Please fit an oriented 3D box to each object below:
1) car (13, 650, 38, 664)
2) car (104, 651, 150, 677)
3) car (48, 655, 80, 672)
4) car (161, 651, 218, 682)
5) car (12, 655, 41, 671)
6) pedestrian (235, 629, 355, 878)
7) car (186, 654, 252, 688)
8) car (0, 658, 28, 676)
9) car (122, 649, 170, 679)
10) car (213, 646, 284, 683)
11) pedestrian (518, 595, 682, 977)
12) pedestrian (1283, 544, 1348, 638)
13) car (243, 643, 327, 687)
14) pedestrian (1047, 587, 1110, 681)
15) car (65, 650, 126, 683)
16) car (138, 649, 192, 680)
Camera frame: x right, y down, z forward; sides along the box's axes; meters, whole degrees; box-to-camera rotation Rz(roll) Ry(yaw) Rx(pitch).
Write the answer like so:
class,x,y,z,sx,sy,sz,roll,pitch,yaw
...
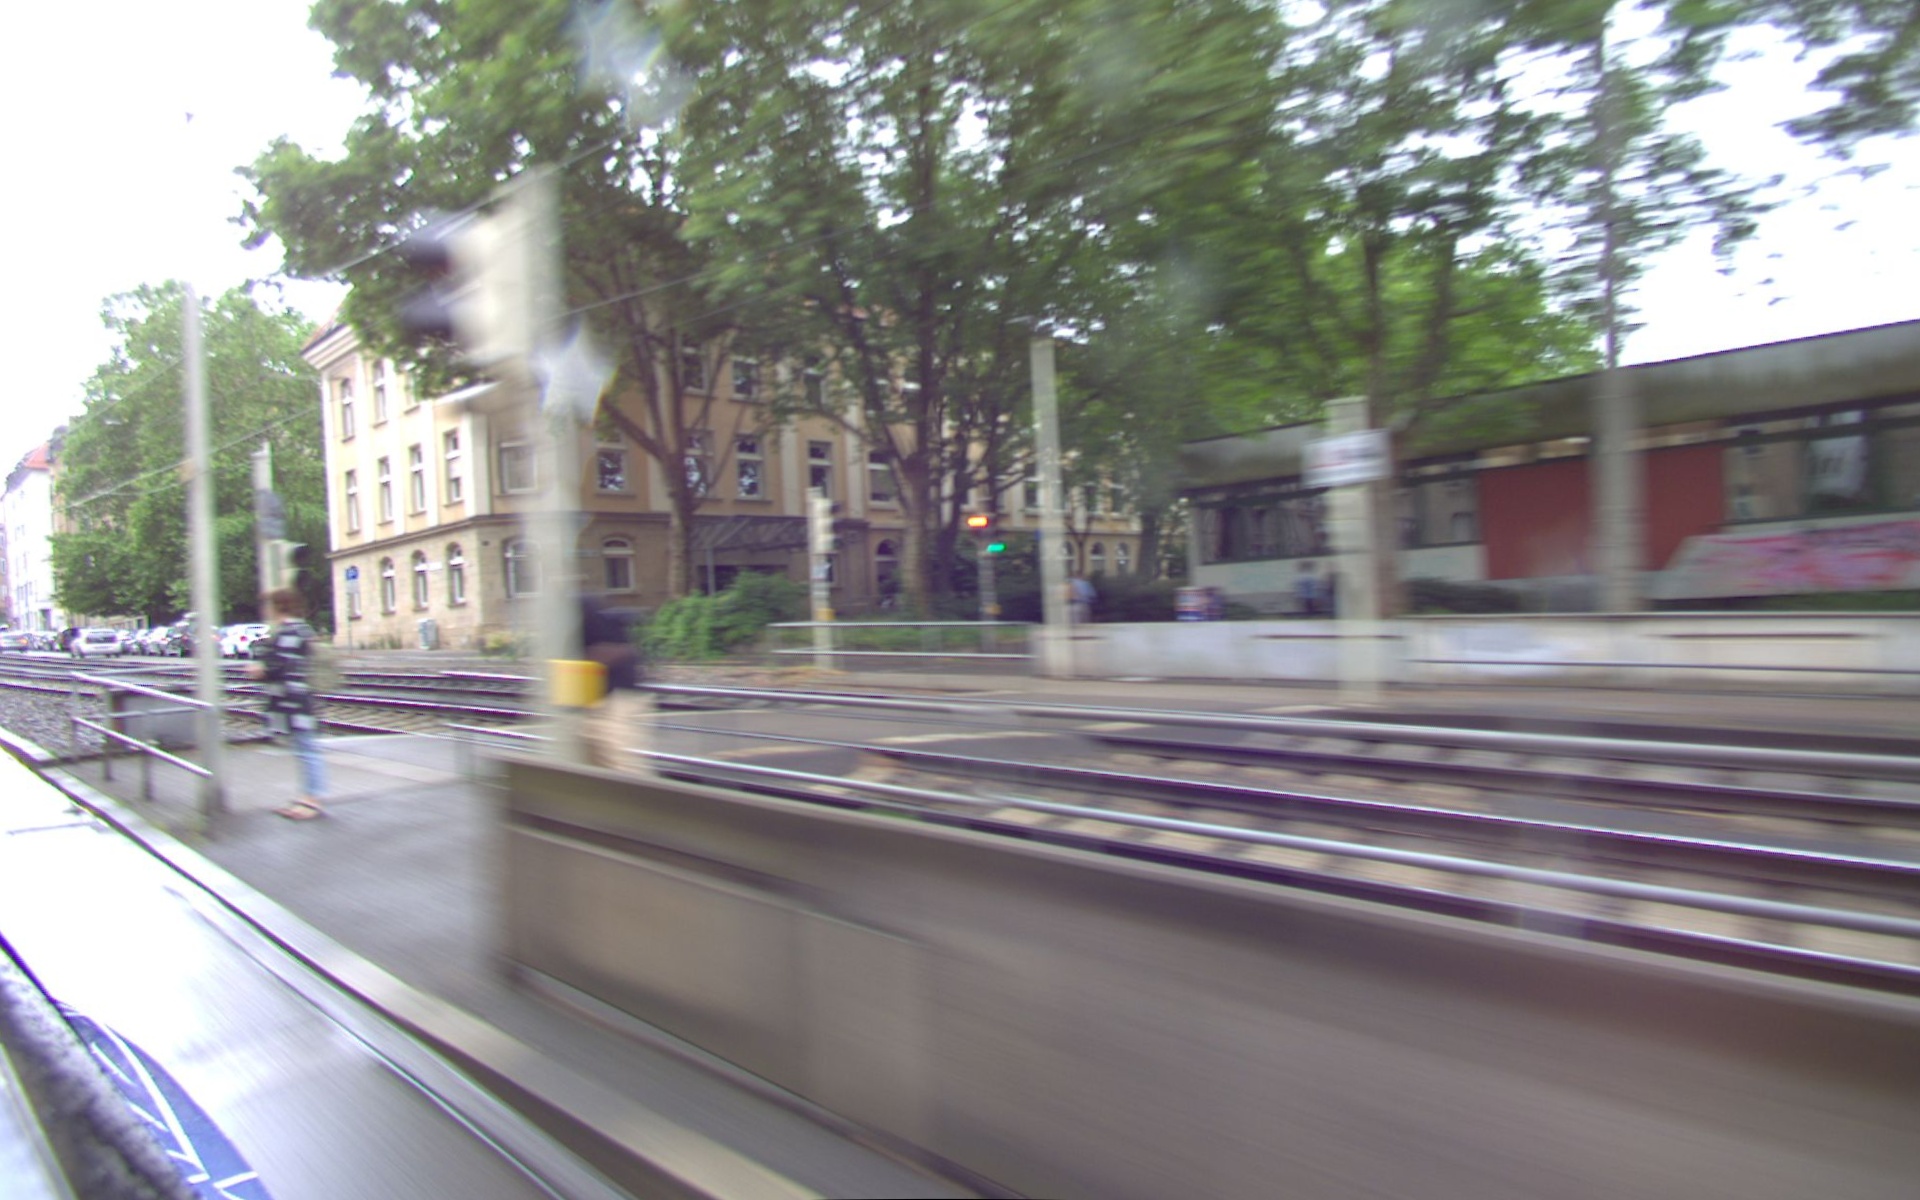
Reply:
class,x,y,z,sx,sy,sz,roll,pitch,yaw
car,-86.222,5.264,93.364,2.907,1.175,1.309,-2,0,40
car,-48.563,3.709,58.976,3.310,1.389,1.385,-2,0,39
car,-65.290,4.613,73.740,2.907,1.175,1.310,-2,0,40
car,-37.653,3.229,49.447,3.279,1.411,1.465,-2,0,39
car,-75.425,5.097,81.790,2.907,1.175,1.310,-2,0,39
pedestrian,-4.602,1.045,7.023,0.476,1.651,0.432,-3,0,9
car,-33.797,3.203,46.145,3.514,1.411,1.625,-2,0,40
car,-69.614,4.911,74.151,2.906,1.175,1.552,-2,0,38
car,-44.989,3.517,55.932,3.310,1.520,1.385,-2,0,39
car,-30.273,2.719,43.017,3.514,1.411,1.625,-2,0,40
pedestrian,-1.804,0.847,5.032,0.642,1.717,0.663,-2,0,-26
pedestrian,7.099,-0.183,20.212,0.858,1.812,0.863,-2,1,-43
car,-26.806,2.531,40.164,3.806,1.488,1.867,-2,1,42
pedestrian,2.388,0.666,20.424,0.862,1.812,0.859,-2,1,44
car,-44.288,3.376,51.808,3.307,1.488,1.667,-2,1,37
car,-41.366,3.348,52.618,3.496,1.460,1.465,-2,0,39
